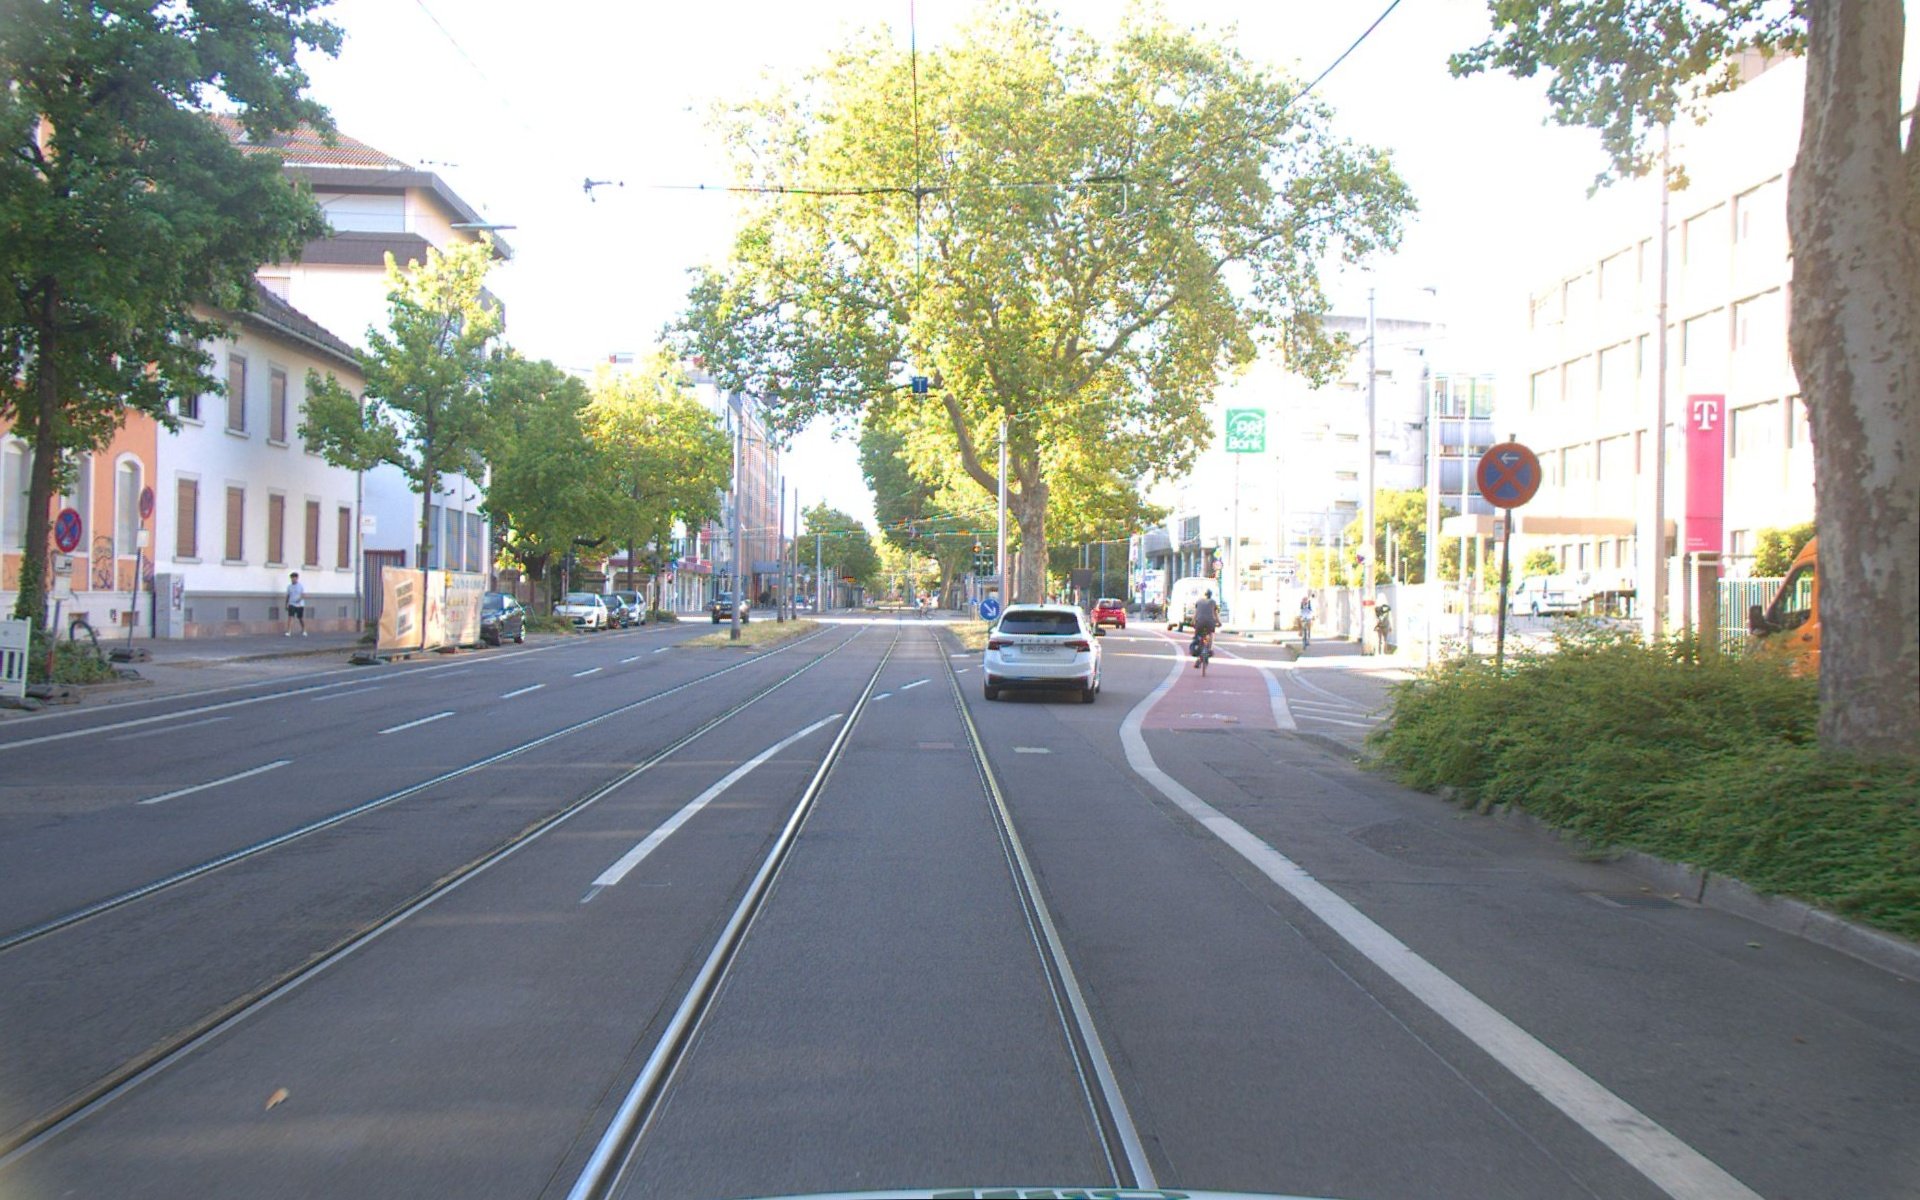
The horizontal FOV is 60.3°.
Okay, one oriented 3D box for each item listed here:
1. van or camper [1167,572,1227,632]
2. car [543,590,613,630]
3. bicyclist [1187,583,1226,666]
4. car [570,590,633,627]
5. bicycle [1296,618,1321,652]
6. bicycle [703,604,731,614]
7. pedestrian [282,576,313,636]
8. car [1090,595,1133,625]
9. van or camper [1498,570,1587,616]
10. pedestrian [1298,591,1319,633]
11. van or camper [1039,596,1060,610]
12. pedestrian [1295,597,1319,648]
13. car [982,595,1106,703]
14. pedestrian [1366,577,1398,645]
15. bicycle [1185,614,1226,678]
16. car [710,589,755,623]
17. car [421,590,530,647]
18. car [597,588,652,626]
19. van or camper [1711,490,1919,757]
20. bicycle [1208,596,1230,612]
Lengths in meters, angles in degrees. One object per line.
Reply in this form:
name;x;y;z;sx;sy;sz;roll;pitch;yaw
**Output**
van or camper;11.880;0.085;83.239;2.222;2.781;6.348;3;0;2
car;-14.915;0.380;64.789;1.954;1.496;4.402;0;0;-4
bicyclist;5.157;0.506;34.592;0.727;1.698;0.745;2;0;11
car;-15.264;0.342;70.697;1.954;1.502;4.646;0;0;-4
bicycle;11.487;1.151;54.611;0.660;1.050;1.902;-2;0;9
bicycle;-19.148;0.694;130.247;2.127;0.801;0.640;0;0;-5
pedestrian;-17.791;0.154;44.436;0.582;1.598;0.639;1;0;-4
car;7.787;0.512;85.352;1.802;1.515;3.715;0;0;-2
van or camper;25.361;-0.323;72.247;1.941;1.942;4.997;0;0;-3
pedestrian;14.887;0.527;70.637;0.769;1.779;0.772;0;0;6
van or camper;11.464;0.347;210.948;2.103;1.781;4.427;0;0;-5
pedestrian;11.479;0.744;54.697;0.655;1.647;1.103;-2;0;7
car;1.391;0.708;26.048;1.764;1.527;3.984;1;0;5
pedestrian;10.836;0.278;42.492;0.681;1.713;0.930;0;0;21
bicycle;5.138;0.942;34.519;0.728;1.245;2.158;2;0;10
car;-11.742;0.286;85.596;1.954;1.719;4.306;0;0;-4
car;-13.870;0.489;47.610;1.954;1.540;4.722;0;0;-3
car;-15.711;0.303;77.569;1.954;1.719;4.174;0;0;-4
van or camper;10.342;0.226;17.678;1.994;2.604;5.772;0;0;0
bicycle;23.948;0.331;153.037;1.896;1.468;0.575;0;0;-3
